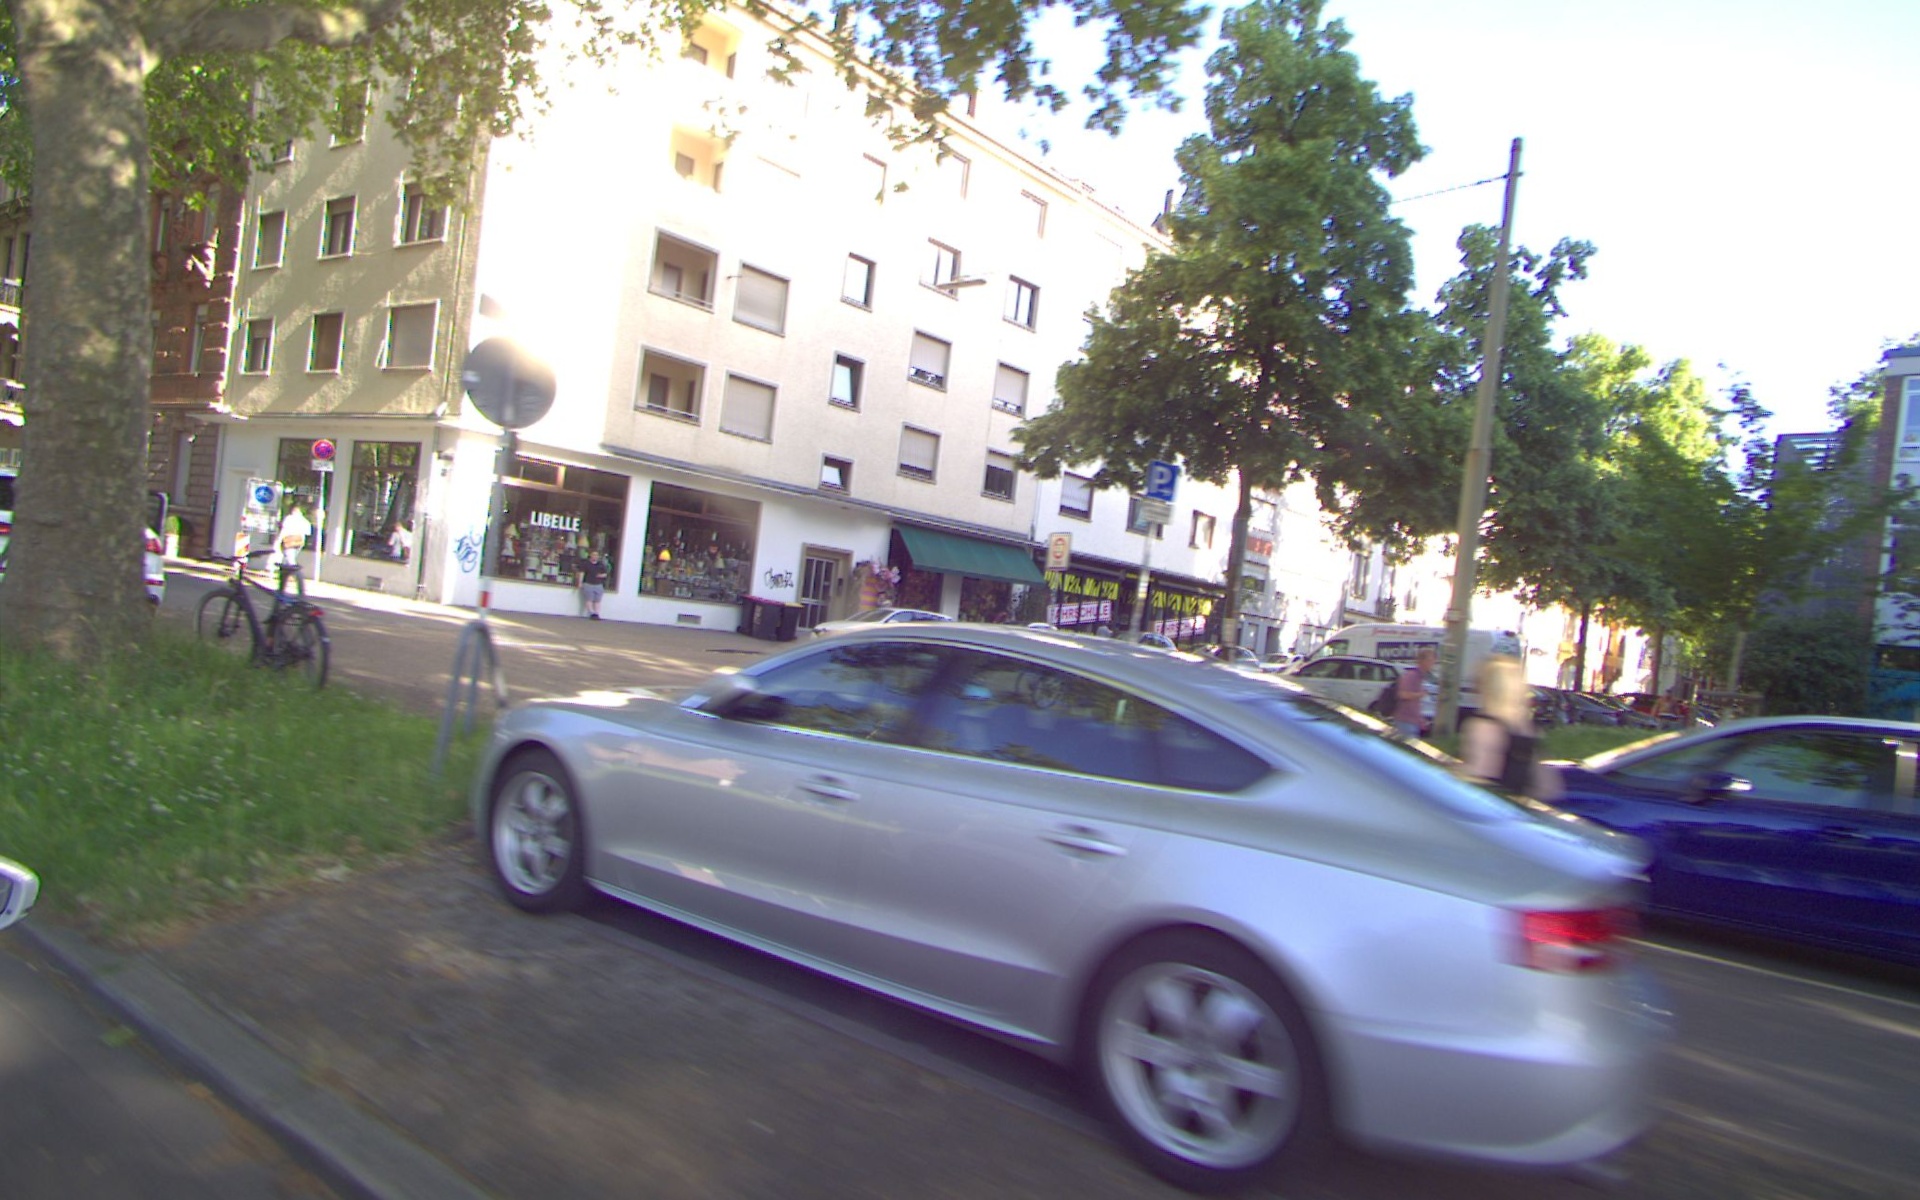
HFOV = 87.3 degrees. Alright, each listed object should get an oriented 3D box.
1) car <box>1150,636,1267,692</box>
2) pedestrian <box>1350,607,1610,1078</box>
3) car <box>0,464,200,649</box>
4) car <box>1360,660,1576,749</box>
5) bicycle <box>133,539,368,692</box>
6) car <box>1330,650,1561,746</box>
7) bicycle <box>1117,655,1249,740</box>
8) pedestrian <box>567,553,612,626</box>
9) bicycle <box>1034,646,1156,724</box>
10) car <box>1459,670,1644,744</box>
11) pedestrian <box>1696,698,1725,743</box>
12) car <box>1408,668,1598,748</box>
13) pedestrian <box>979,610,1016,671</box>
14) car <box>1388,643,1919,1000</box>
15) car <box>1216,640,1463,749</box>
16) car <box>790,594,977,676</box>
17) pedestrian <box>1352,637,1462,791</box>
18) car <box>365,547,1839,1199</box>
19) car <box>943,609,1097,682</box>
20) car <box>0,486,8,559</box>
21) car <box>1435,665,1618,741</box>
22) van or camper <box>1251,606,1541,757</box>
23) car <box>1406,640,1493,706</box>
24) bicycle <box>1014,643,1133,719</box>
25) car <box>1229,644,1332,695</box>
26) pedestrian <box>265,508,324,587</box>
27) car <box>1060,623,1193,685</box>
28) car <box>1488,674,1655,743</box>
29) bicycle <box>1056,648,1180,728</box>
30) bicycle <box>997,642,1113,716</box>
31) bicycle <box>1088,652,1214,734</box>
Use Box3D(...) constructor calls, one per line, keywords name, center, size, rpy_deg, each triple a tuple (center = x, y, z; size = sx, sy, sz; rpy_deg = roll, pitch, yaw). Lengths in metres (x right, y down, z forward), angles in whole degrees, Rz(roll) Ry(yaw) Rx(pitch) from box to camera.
Box3D(name="car", center=(9.132, 2.375, 36.854), size=(4.368, 1.555, 1.976), rpy_deg=(8, -1, -43))
Box3D(name="pedestrian", center=(2.123, 0.913, 4.105), size=(0.701, 1.628, 0.689), rpy_deg=(7, -2, 32))
Box3D(name="car", center=(-10.620, -0.605, 10.942), size=(4.741, 1.656, 1.907), rpy_deg=(6, -1, 29))
Box3D(name="car", center=(13.593, 2.767, 27.145), size=(1.988, 1.689, 4.687), rpy_deg=(7, -1, -43))
Box3D(name="bicycle", center=(-5.546, 0.097, 7.815), size=(2.129, 0.936, 0.640), rpy_deg=(6, 0, 32))
Box3D(name="car", center=(12.012, 2.396, 25.136), size=(1.988, 1.689, 4.687), rpy_deg=(7, -1, -43))
Box3D(name="bicycle", center=(3.415, 1.501, 15.301), size=(2.176, 1.117, 0.504), rpy_deg=(7, 0, -34))
Box3D(name="pedestrian", center=(-8.976, -0.252, 24.378), size=(0.714, 1.670, 0.590), rpy_deg=(7, 0, 43))
Box3D(name="bicycle", center=(2.285, 1.430, 16.835), size=(2.125, 1.117, 0.504), rpy_deg=(7, 0, -34))
Box3D(name="car", center=(18.764, 3.390, 32.074), size=(1.988, 1.647, 4.597), rpy_deg=(7, -1, -43))
Box3D(name="pedestrian", center=(28.790, 4.612, 38.584), size=(0.670, 1.620, 0.627), rpy_deg=(6, 0, -43))
Box3D(name="car", center=(15.687, 3.102, 29.200), size=(1.988, 1.647, 4.336), rpy_deg=(7, -1, -43))
Box3D(name="pedestrian", center=(1.197, 1.287, 32.011), size=(0.720, 1.831, 0.680), rpy_deg=(6, 0, -44))
Box3D(name="car", center=(5.853, 1.495, 6.829), size=(5.082, 1.763, 1.822), rpy_deg=(6, -1, 32))
Box3D(name="car", center=(7.935, 1.951, 21.312), size=(1.988, 1.647, 4.336), rpy_deg=(7, -1, -43))
Box3D(name="car", center=(-1.935, 0.950, 26.432), size=(4.573, 1.599, 1.976), rpy_deg=(8, -1, -44))
Box3D(name="pedestrian", center=(5.371, 1.349, 12.086), size=(0.892, 1.671, 0.679), rpy_deg=(7, 0, 39))
Box3D(name="car", center=(-0.055, 0.769, 3.963), size=(4.943, 1.415, 1.756), rpy_deg=(6, -1, 32))
Box3D(name="car", center=(1.829, 1.374, 29.841), size=(4.368, 1.664, 1.976), rpy_deg=(8, -1, -43))
Box3D(name="car", center=(-19.553, -1.578, 18.631), size=(4.190, 1.549, 1.697), rpy_deg=(7, 0, 32))
Box3D(name="car", center=(17.166, 3.109, 30.622), size=(1.988, 1.647, 4.336), rpy_deg=(7, -1, -43))
Box3D(name="van or camper", center=(9.858, 1.772, 23.162), size=(2.140, 2.668, 5.521), rpy_deg=(7, -1, -42))
Box3D(name="car", center=(25.966, 3.898, 53.273), size=(5.474, 3.021, 2.076), rpy_deg=(8, -1, -43))
Box3D(name="bicycle", center=(1.980, 1.410, 17.302), size=(2.125, 1.117, 0.504), rpy_deg=(7, 0, -34))
Box3D(name="car", center=(13.026, 2.842, 40.777), size=(4.368, 1.555, 1.976), rpy_deg=(8, -1, -43))
Box3D(name="pedestrian", center=(-15.502, -1.217, 23.437), size=(0.712, 1.725, 0.796), rpy_deg=(7, 0, 32))
Box3D(name="car", center=(5.566, 1.815, 33.336), size=(4.368, 1.555, 1.976), rpy_deg=(8, -1, -43))
Box3D(name="car", center=(20.571, 3.621, 33.967), size=(1.988, 1.647, 4.336), rpy_deg=(7, -1, -43))
Box3D(name="bicycle", center=(2.601, 1.445, 16.369), size=(2.125, 1.117, 0.504), rpy_deg=(7, 0, -34))
Box3D(name="bicycle", center=(1.699, 1.403, 17.740), size=(2.125, 1.117, 0.468), rpy_deg=(7, 0, -34))
Box3D(name="bicycle", center=(3.023, 1.476, 15.793), size=(2.125, 1.117, 0.504), rpy_deg=(7, 0, -34))
